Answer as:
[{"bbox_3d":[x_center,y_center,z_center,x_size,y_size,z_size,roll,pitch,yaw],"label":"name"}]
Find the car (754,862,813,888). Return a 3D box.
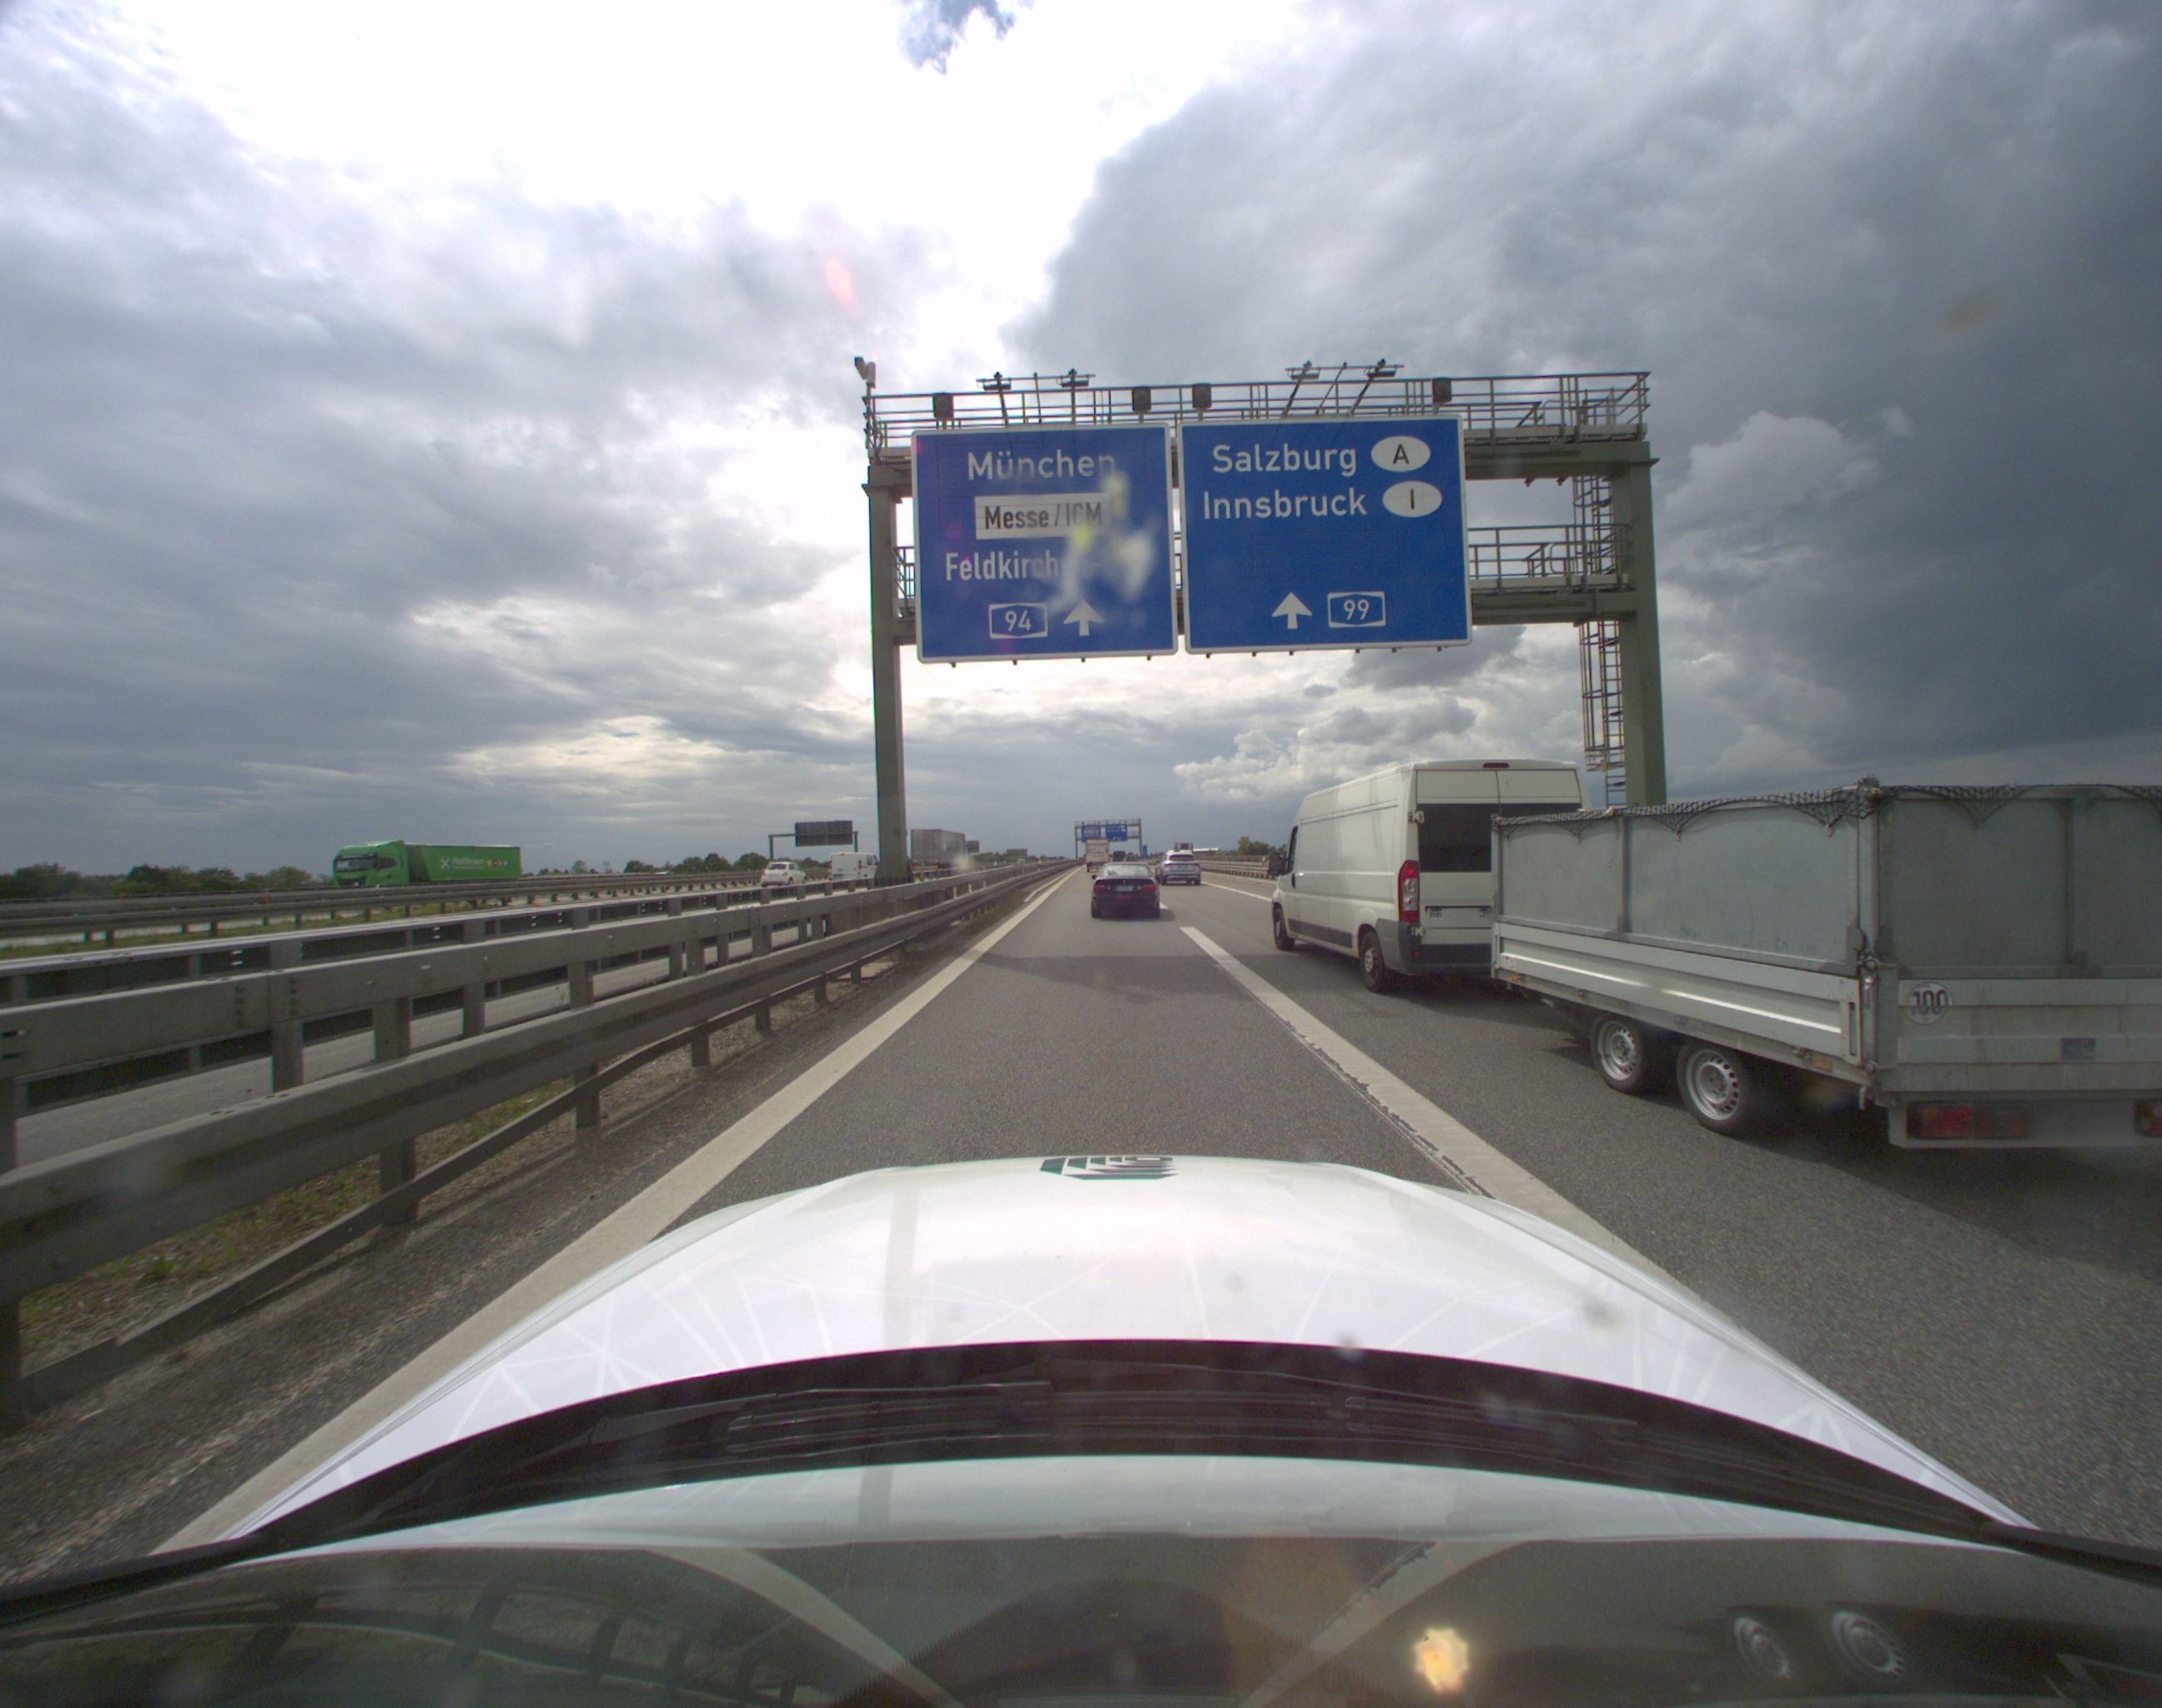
[{"bbox_3d":[-17.140,1.197,47.156,1.790,1.420,4.002,0,0,2],"label":"car"}]

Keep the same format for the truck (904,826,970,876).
[{"bbox_3d":[-12.868,-0.255,74.656,3.173,4.019,16.071,0,0,0],"label":"truck"}]

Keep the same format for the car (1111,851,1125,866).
[{"bbox_3d":[5.486,0.666,120.514,1.900,2.262,4.649,0,0,0],"label":"car"}]

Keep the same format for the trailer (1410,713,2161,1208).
[{"bbox_3d":[4.156,0.427,5.655,1.849,2.013,4.630,0,0,0],"label":"trailer"}]

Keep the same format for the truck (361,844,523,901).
[{"bbox_3d":[-44.319,1.172,57.130,3.003,3.635,10.437,0,0,0],"label":"truck"}]

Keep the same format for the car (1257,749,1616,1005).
[{"bbox_3d":[4.088,0.215,10.907,2.107,2.454,6.150,0,0,0],"label":"car"}]

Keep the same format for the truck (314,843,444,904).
[{"bbox_3d":[-44.340,1.153,51.711,3.031,3.609,5.894,-1,0,0],"label":"truck"}]

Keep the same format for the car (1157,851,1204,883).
[{"bbox_3d":[4.835,0.611,40.087,1.814,1.514,3.999,0,0,-1],"label":"car"}]

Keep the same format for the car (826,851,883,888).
[{"bbox_3d":[-12.996,0.867,46.954,1.986,2.013,4.375,0,0,1],"label":"car"}]

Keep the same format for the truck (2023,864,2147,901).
[{"bbox_3d":[112.515,3.155,91.266,13.705,3.936,3.297,1,0,-14],"label":"truck"}]

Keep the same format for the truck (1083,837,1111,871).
[{"bbox_3d":[1.536,0.103,78.557,2.560,3.126,8.634,0,-1,1],"label":"truck"}]

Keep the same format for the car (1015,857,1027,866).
[{"bbox_3d":[-11.537,1.439,155.765,1.821,1.563,4.002,-1,0,2],"label":"car"}]

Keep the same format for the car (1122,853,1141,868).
[{"bbox_3d":[5.491,0.669,88.786,1.878,1.552,4.000,0,0,1],"label":"car"}]

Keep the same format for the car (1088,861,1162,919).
[{"bbox_3d":[1.174,0.856,20.987,1.696,1.281,4.371,0,0,4],"label":"car"}]
